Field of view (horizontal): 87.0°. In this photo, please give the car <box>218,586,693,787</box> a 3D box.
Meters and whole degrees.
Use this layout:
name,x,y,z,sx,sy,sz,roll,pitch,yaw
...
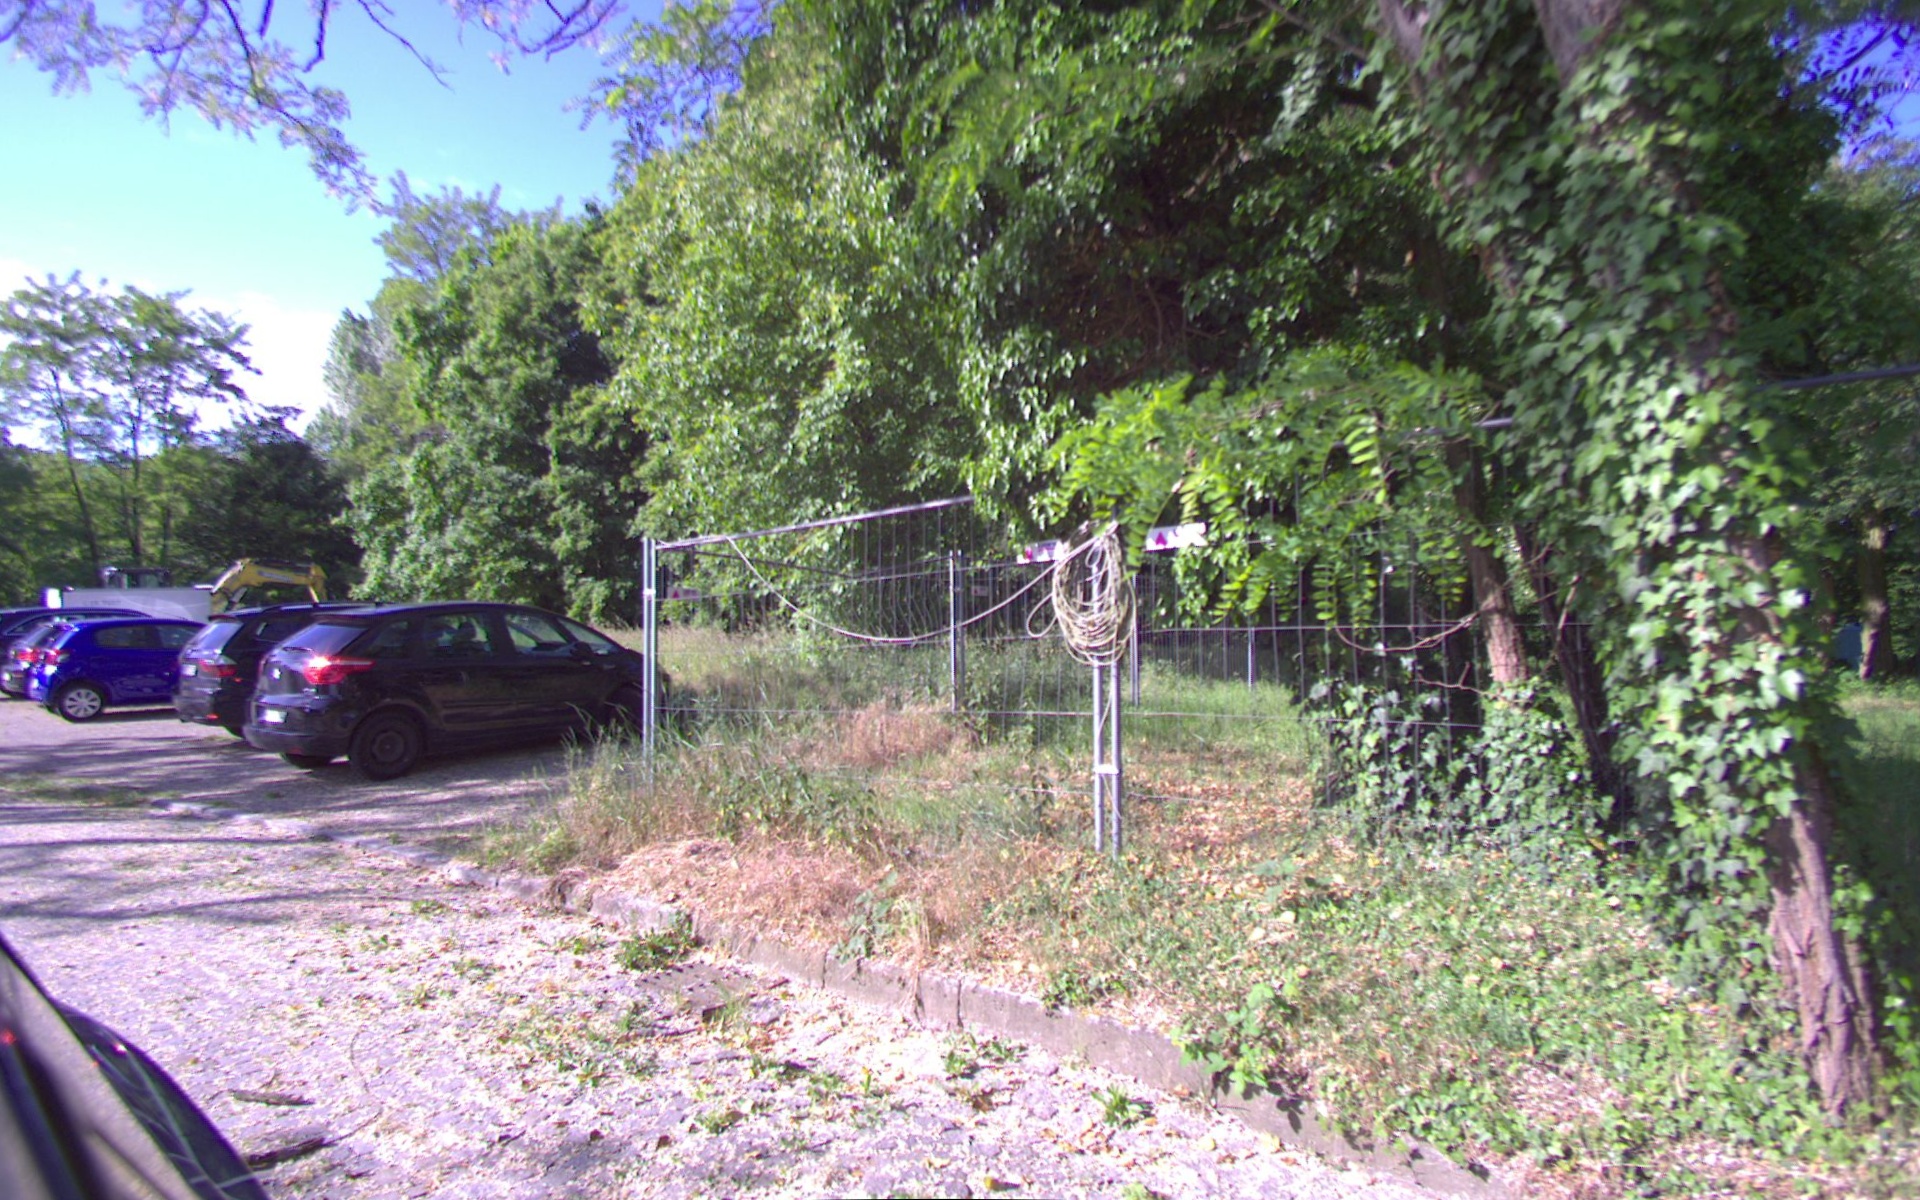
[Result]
name,x,y,z,sx,sy,sz,roll,pitch,yaw
car,-5.153,0.732,10.920,1.789,1.664,4.250,-1,1,34

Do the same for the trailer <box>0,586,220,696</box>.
name,x,y,z,sx,sy,sz,roll,pitch,yaw
trailer,-18.130,0.785,21.228,1.638,2.109,3.920,-2,0,40

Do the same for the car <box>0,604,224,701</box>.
name,x,y,z,sx,sy,sz,roll,pitch,yaw
car,-16.248,0.925,18.879,1.867,1.653,3.768,-2,-1,41

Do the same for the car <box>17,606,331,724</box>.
name,x,y,z,sx,sy,sz,roll,pitch,yaw
car,-12.190,0.920,15.843,1.714,1.504,3.613,-2,0,42

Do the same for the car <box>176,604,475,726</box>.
name,x,y,z,sx,sy,sz,roll,pitch,yaw
car,-9.427,0.871,15.194,1.679,1.527,3.500,0,1,44

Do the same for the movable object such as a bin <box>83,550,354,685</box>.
name,x,y,z,sx,sy,sz,roll,pitch,yaw
movable object such as a bin,-18.063,0.432,24.875,2.000,2.988,5.090,-2,-2,44

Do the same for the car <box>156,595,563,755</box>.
name,x,y,z,sx,sy,sz,roll,pitch,yaw
car,-7.519,0.811,13.031,1.815,1.668,4.137,-1,0,38

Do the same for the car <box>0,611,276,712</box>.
name,x,y,z,sx,sy,sz,roll,pitch,yaw
car,-14.228,0.962,17.499,1.832,1.462,3.615,-1,0,39
